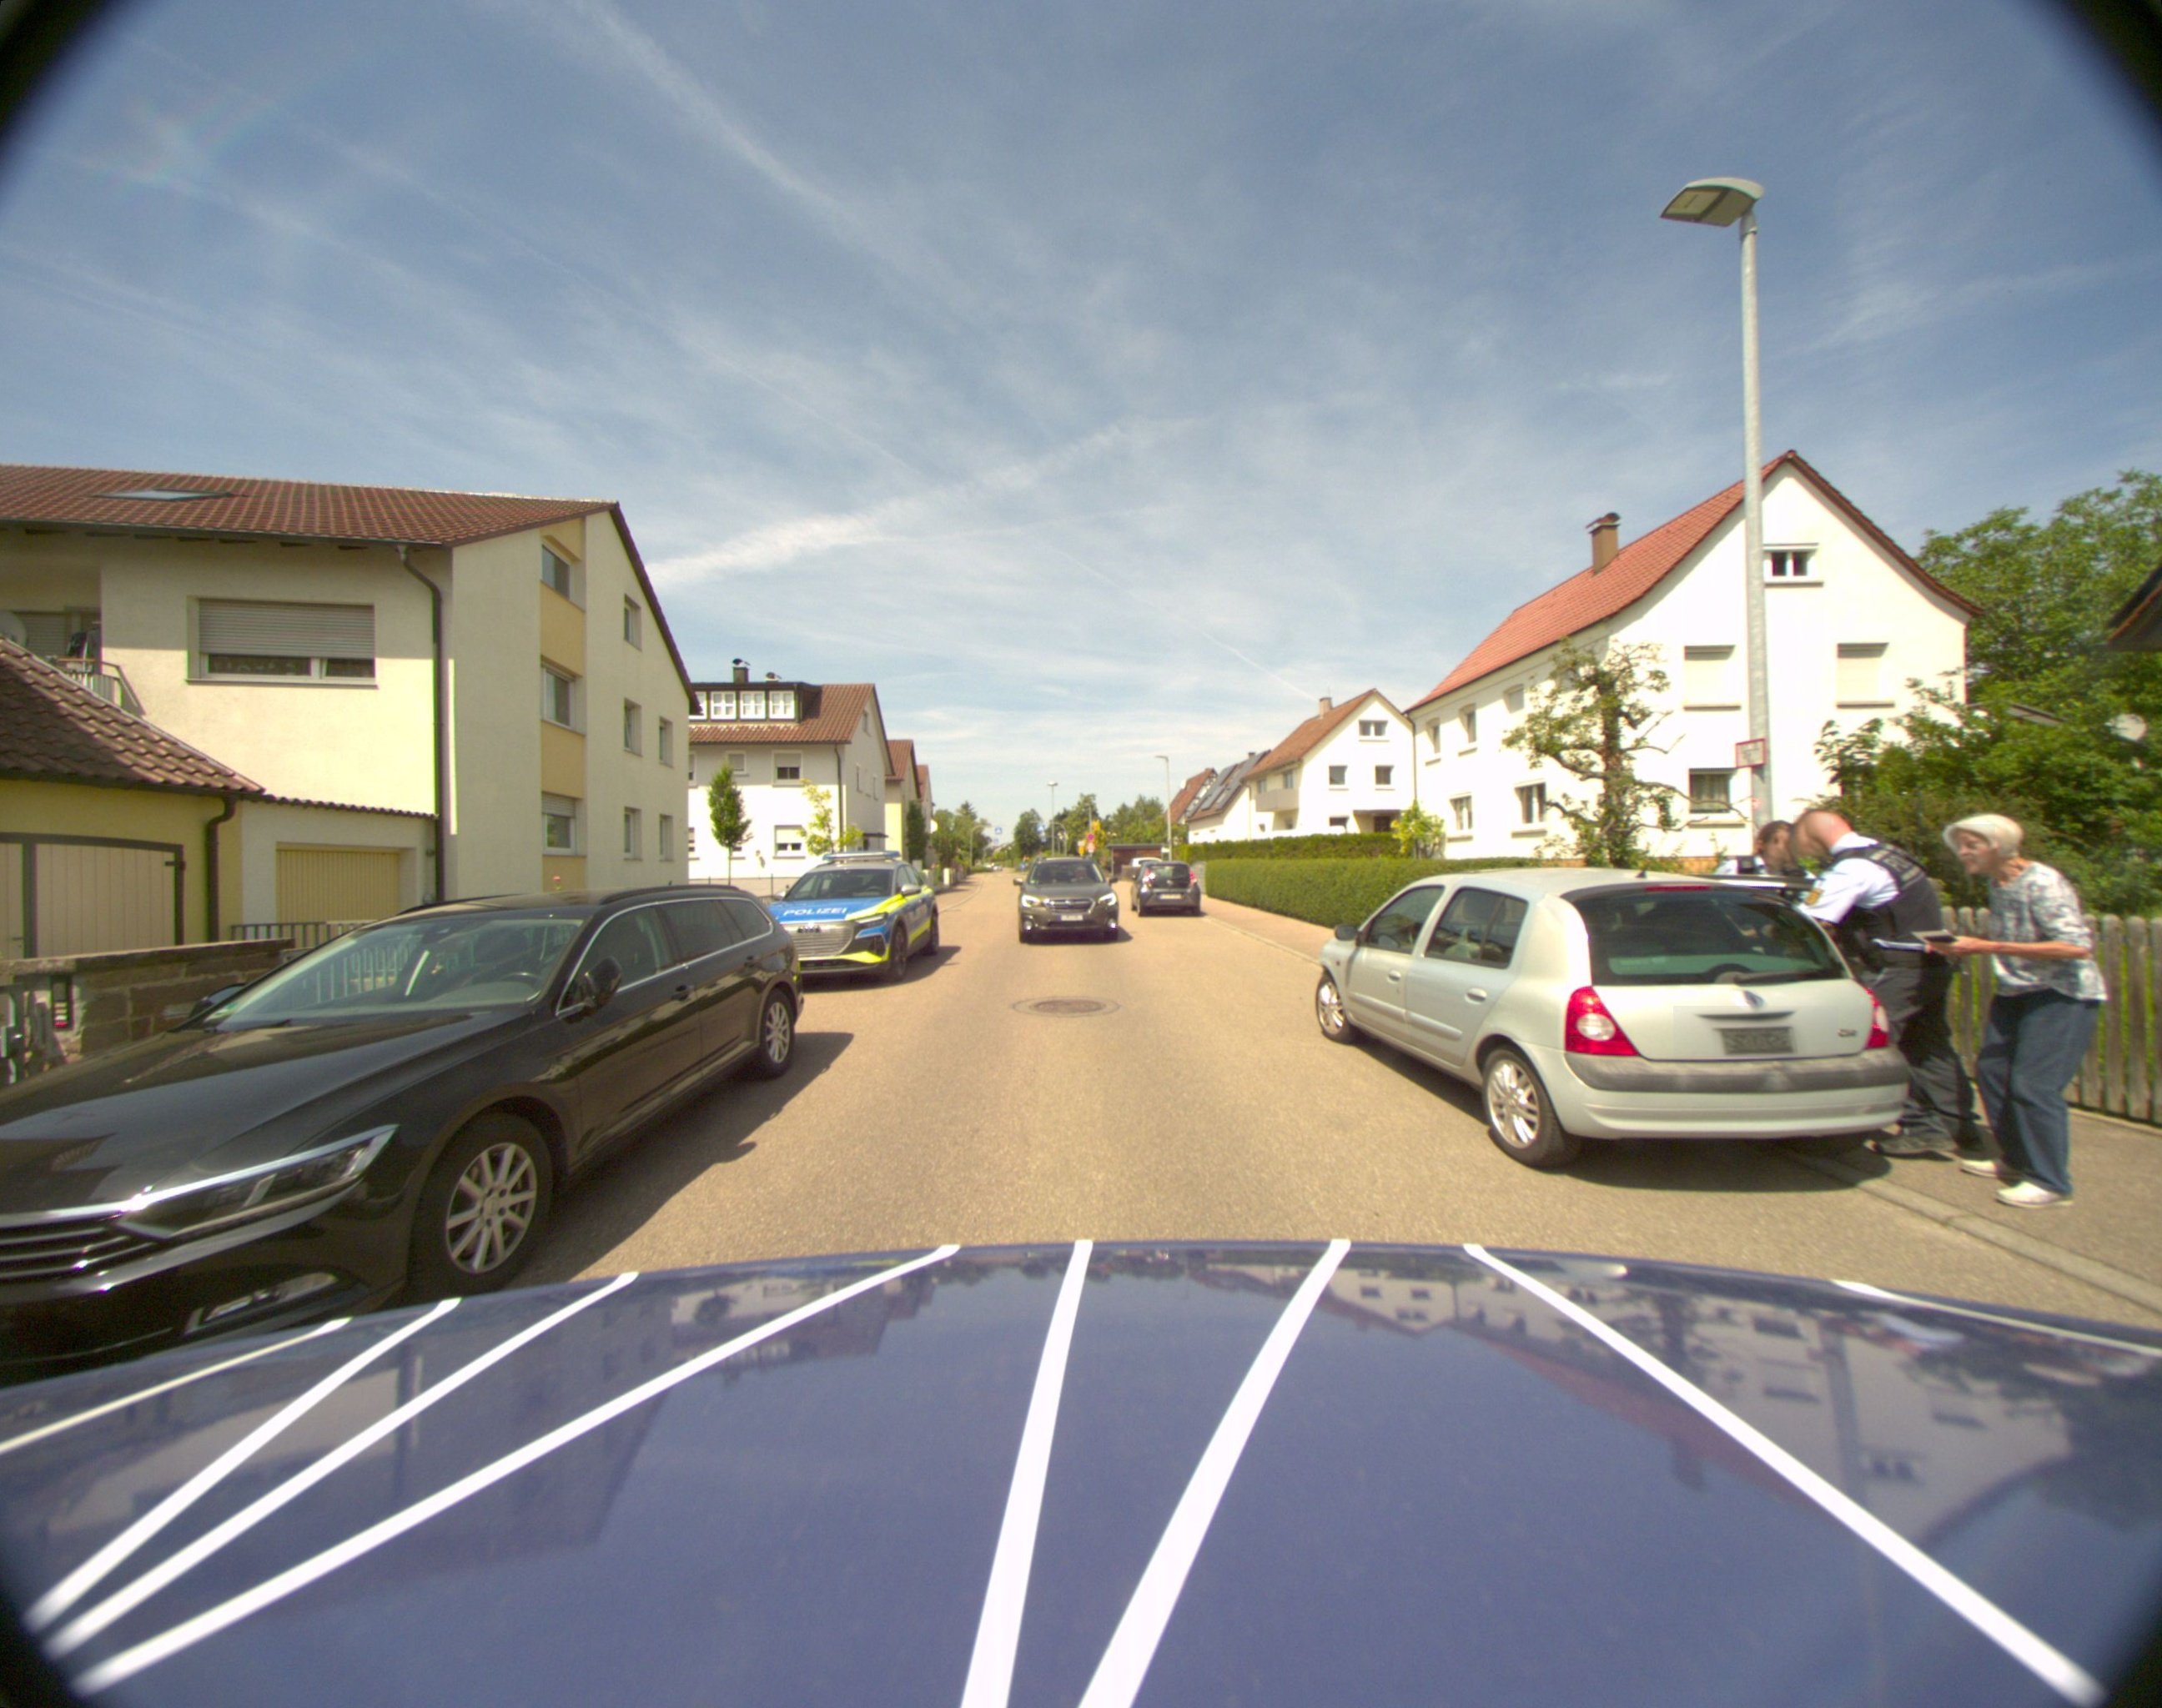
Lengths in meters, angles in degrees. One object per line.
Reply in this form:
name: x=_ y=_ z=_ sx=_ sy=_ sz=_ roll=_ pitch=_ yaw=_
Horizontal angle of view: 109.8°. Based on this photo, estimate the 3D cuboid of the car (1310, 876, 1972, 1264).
car: x=2.780 y=0.914 z=4.705 sx=1.586 sy=1.434 sz=3.265 roll=-1 pitch=0 yaw=-3

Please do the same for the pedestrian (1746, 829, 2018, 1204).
pedestrian: x=3.902 y=0.740 z=3.750 sx=0.640 sy=1.672 sz=0.590 roll=-4 pitch=1 yaw=-1

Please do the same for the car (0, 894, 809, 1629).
car: x=-3.004 y=1.097 z=3.936 sx=1.628 sy=1.460 sz=4.371 roll=-3 pitch=0 yaw=-1

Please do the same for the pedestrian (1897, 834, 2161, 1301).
pedestrian: x=3.913 y=0.759 z=3.009 sx=0.640 sy=1.633 sz=0.599 roll=-4 pitch=1 yaw=-1

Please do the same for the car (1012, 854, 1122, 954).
car: x=-0.323 y=0.860 z=15.217 sx=1.838 sy=1.637 sz=4.322 roll=-2 pitch=0 yaw=-2

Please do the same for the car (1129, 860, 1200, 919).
car: x=2.246 y=0.924 z=21.153 sx=1.602 sy=1.450 sz=3.660 roll=-1 pitch=0 yaw=1

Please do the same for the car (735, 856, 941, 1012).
car: x=-3.236 y=0.947 z=10.997 sx=1.670 sy=1.739 sz=4.055 roll=-3 pitch=0 yaw=-1

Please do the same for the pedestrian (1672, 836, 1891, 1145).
pedestrian: x=4.018 y=0.741 z=4.402 sx=0.640 sy=1.633 sz=0.590 roll=-4 pitch=1 yaw=-1
